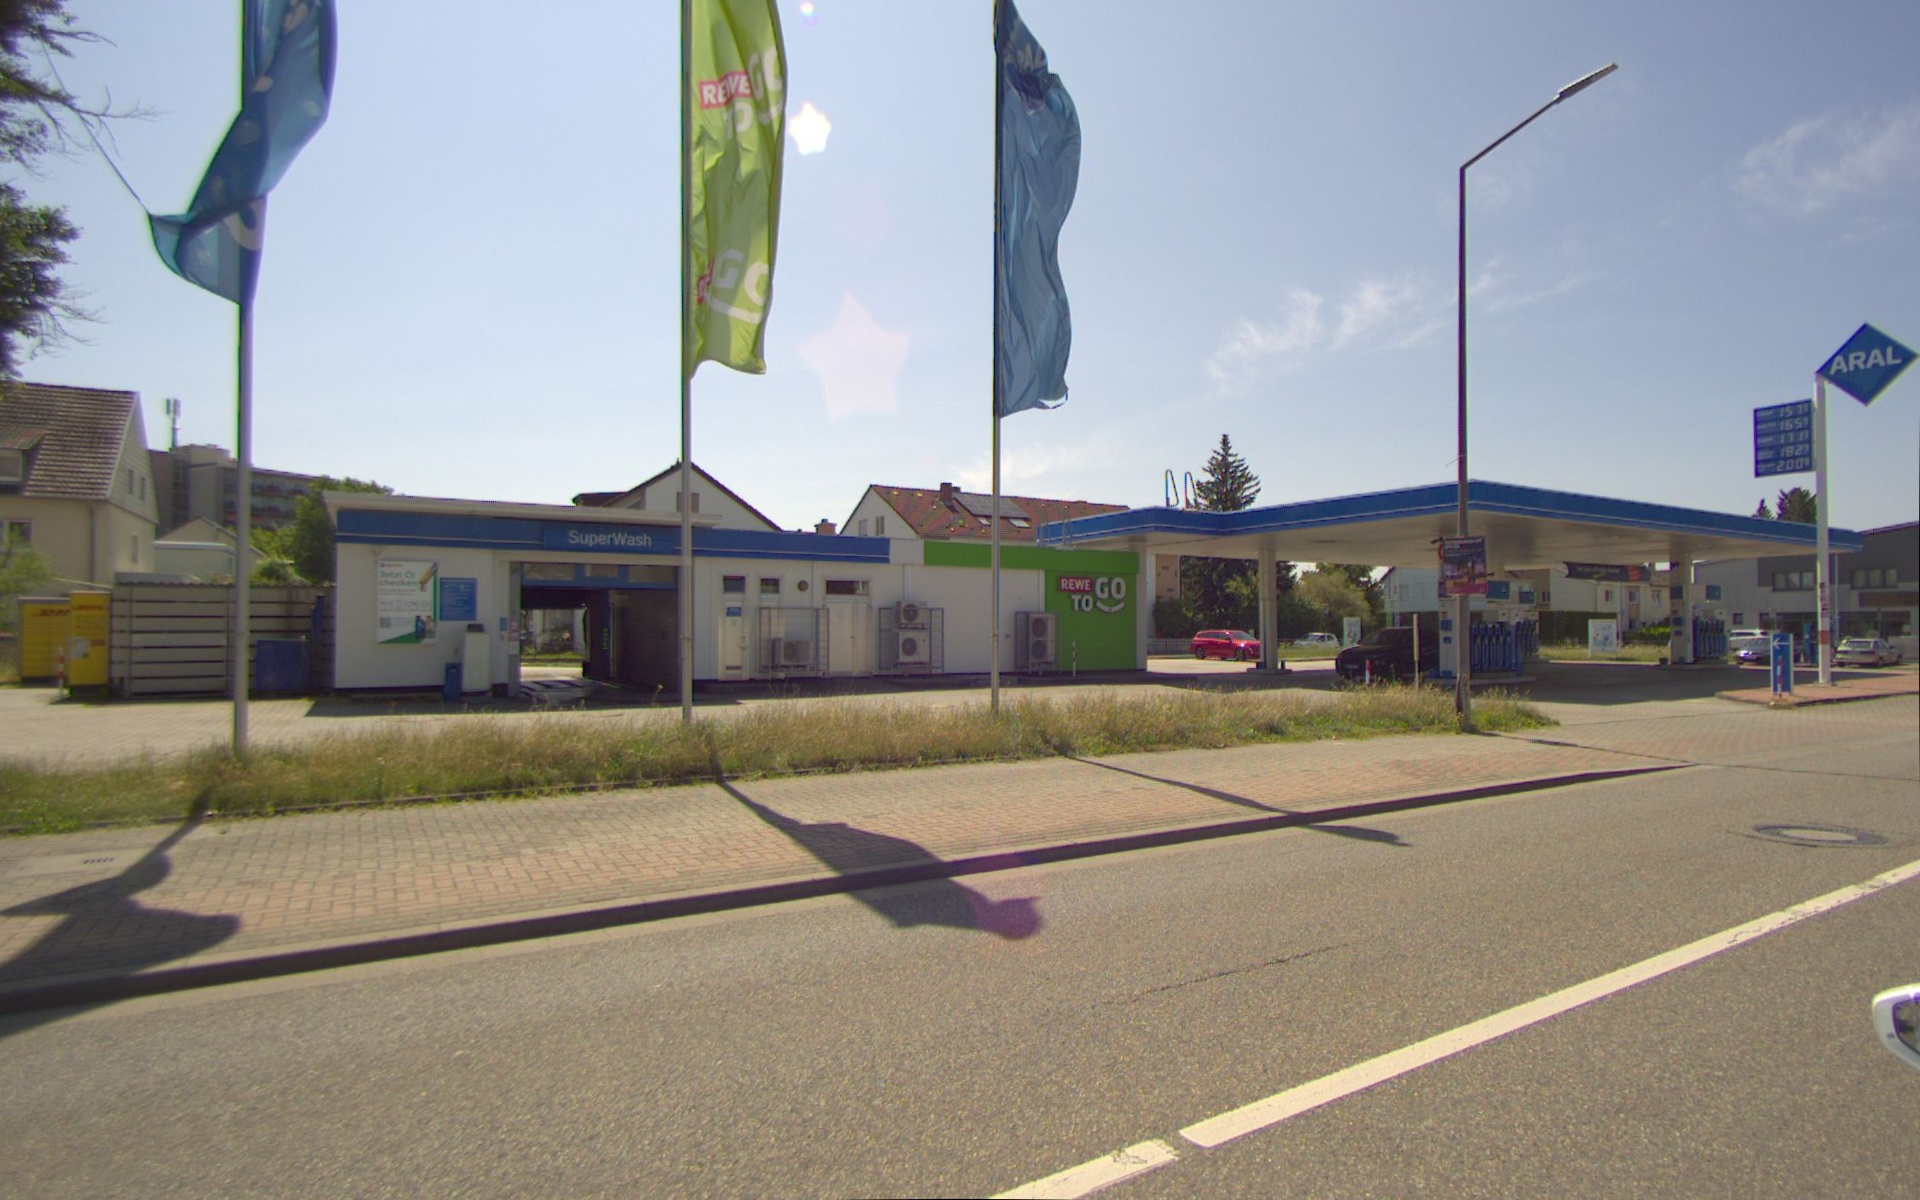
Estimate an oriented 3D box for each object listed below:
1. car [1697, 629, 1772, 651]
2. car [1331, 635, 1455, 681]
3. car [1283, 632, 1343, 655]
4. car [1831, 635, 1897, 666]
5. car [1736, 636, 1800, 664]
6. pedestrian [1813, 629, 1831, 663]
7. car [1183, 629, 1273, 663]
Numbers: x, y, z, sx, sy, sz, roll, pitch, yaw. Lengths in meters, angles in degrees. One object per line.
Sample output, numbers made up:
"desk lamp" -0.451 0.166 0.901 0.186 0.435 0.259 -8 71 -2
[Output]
"car" 55.192 2.813 71.656 1.538 1.528 3.964 1 -2 -33
"car" 13.939 1.822 32.308 3.953 1.400 1.662 1 -2 -31
"car" 24.256 2.975 68.958 3.950 1.500 1.663 1 -2 -28
"car" 44.880 2.501 49.869 3.674 1.438 1.607 1 -4 -35
"car" 42.513 2.613 52.846 3.674 1.438 1.607 1 -4 -35
"pedestrian" 44.783 2.378 52.202 0.602 1.713 0.707 -1 -2 34
"car" 12.765 2.177 48.026 1.660 1.556 3.958 1 -2 -37
